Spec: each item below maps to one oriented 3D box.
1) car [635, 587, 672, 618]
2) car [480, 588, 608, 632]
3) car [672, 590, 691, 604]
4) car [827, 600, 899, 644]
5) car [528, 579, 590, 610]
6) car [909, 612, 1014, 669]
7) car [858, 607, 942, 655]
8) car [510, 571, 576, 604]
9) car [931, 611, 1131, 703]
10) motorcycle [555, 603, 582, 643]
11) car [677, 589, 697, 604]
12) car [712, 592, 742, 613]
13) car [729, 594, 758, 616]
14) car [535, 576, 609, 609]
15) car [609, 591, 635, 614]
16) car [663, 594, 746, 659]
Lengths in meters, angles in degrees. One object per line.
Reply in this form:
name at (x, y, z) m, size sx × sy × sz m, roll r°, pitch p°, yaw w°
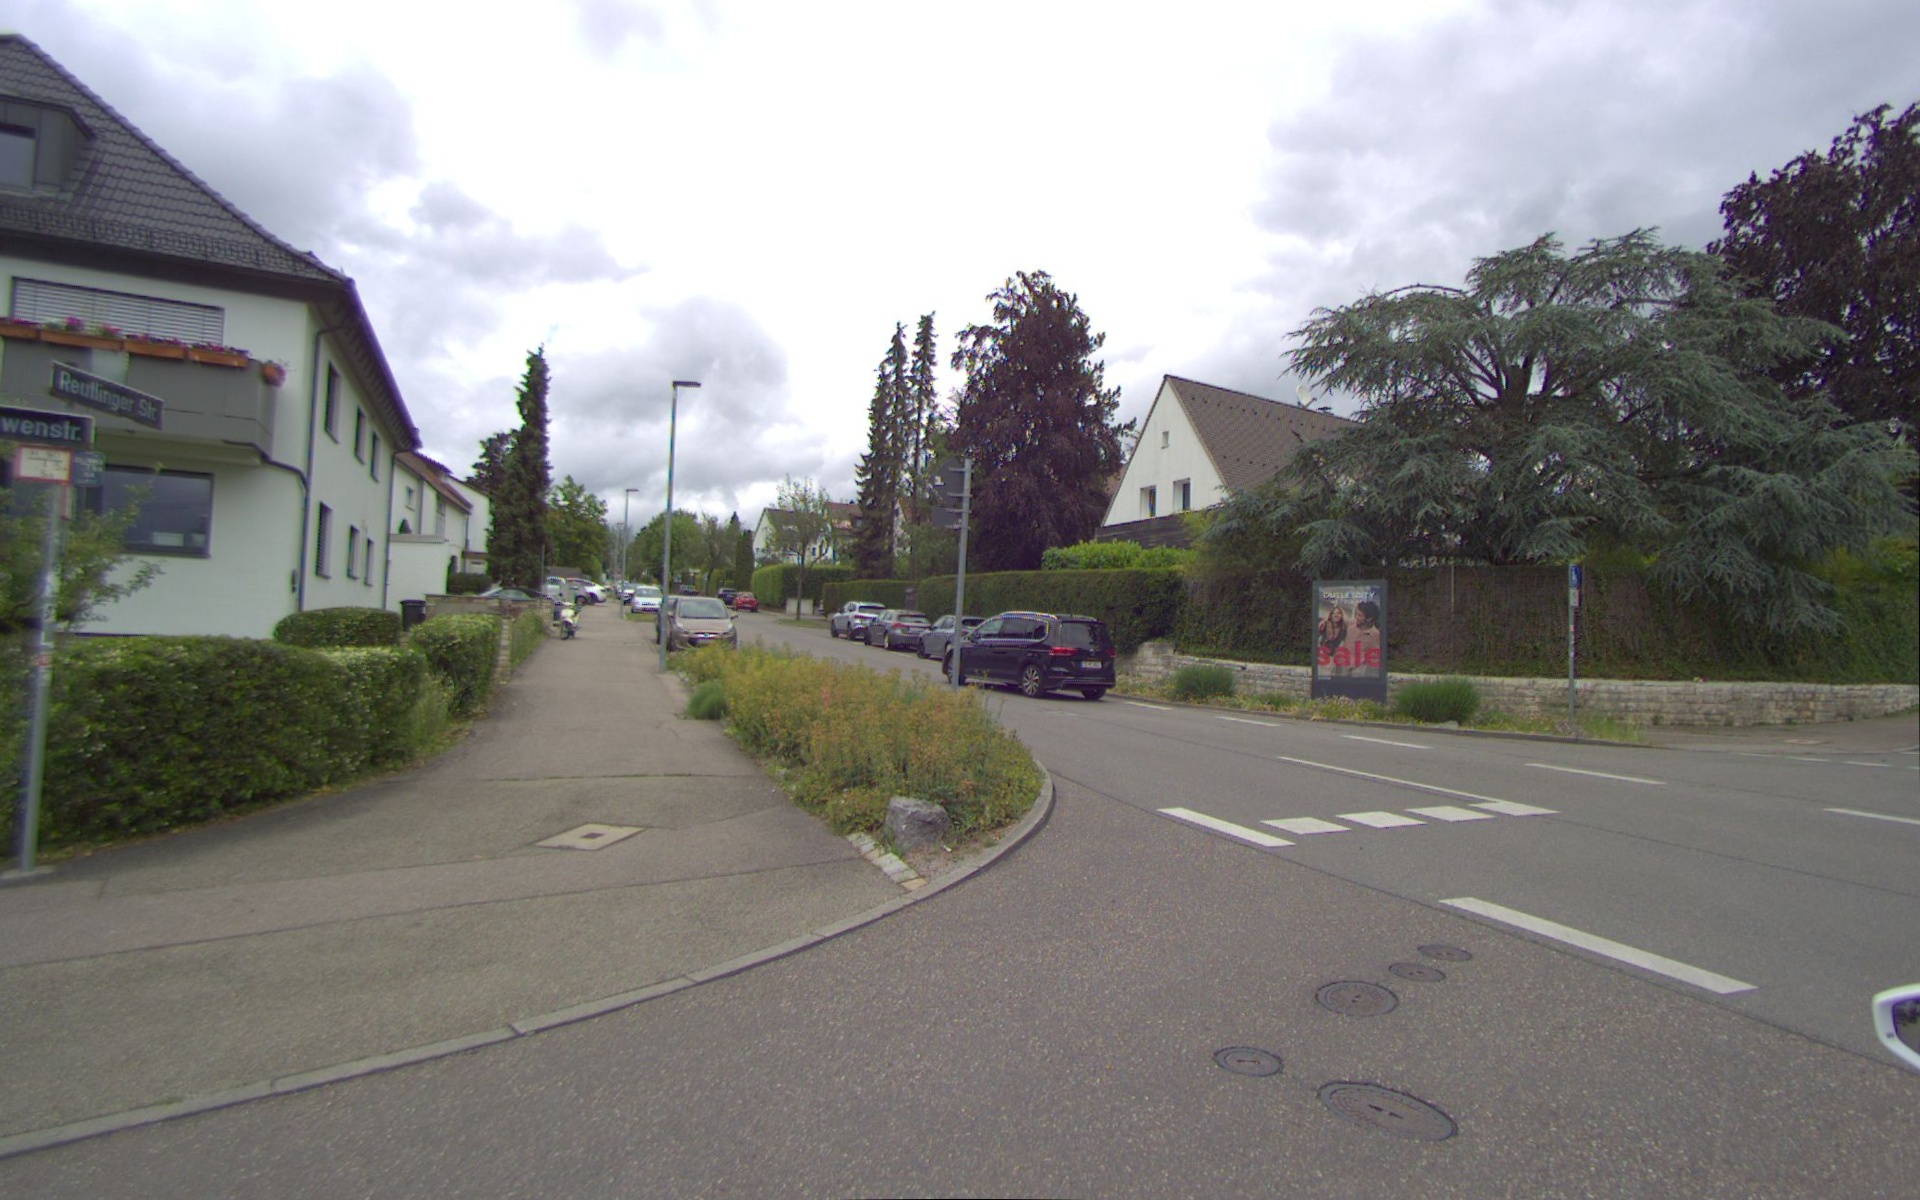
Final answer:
car at (-17.127, 0.101, 56.113) m, size 1.740 × 1.584 × 3.837 m, roll 2°, pitch 0°, yaw -20°
car at (-15.440, 0.378, 37.331) m, size 4.243 × 1.386 × 1.892 m, roll 3°, pitch 0°, yaw -26°
car at (-36.689, -0.356, 132.175) m, size 1.970 × 1.639 × 4.493 m, roll 5°, pitch -1°, yaw -19°
car at (-4.124, 0.877, 42.102) m, size 1.834 × 1.603 × 4.150 m, roll 4°, pitch -1°, yaw -21°
car at (-25.081, -0.328, 62.888) m, size 3.388 × 1.531 × 1.685 m, roll 6°, pitch -2°, yaw -19°
car at (-0.031, 1.223, 31.191) m, size 1.834 × 1.483 × 3.979 m, roll 4°, pitch -1°, yaw -22°
car at (-2.267, 1.099, 36.884) m, size 1.834 × 1.483 × 4.150 m, roll 4°, pitch -1°, yaw -21°
car at (-24.764, -0.739, 59.729) m, size 3.388 × 1.598 × 1.650 m, roll 6°, pitch -2°, yaw -19°
car at (1.364, 1.136, 20.930) m, size 1.835 × 1.632 × 4.269 m, roll 4°, pitch -2°, yaw -35°
motorcycle at (-11.863, 0.687, 30.484) m, size 0.423 × 1.176 × 1.858 m, roll 2°, pitch -1°, yaw -12°
car at (-34.461, -0.493, 126.789) m, size 1.970 × 1.639 × 4.493 m, roll 5°, pitch -1°, yaw -19°
car at (-20.102, 0.197, 86.578) m, size 1.970 × 1.639 × 4.493 m, roll 5°, pitch -1°, yaw -19°
car at (-16.660, 0.376, 77.251) m, size 1.641 × 1.528 × 3.741 m, roll 3°, pitch 0°, yaw -20°
car at (-25.705, -0.494, 66.683) m, size 4.362 × 1.650 × 1.901 m, roll 6°, pitch -1°, yaw -21°
car at (-25.800, 0.170, 76.619) m, size 1.815 × 1.688 × 4.389 m, roll 2°, pitch 1°, yaw -19°
car at (-7.230, 0.685, 28.199) m, size 1.855 × 1.606 × 3.854 m, roll 3°, pitch 0°, yaw -19°
